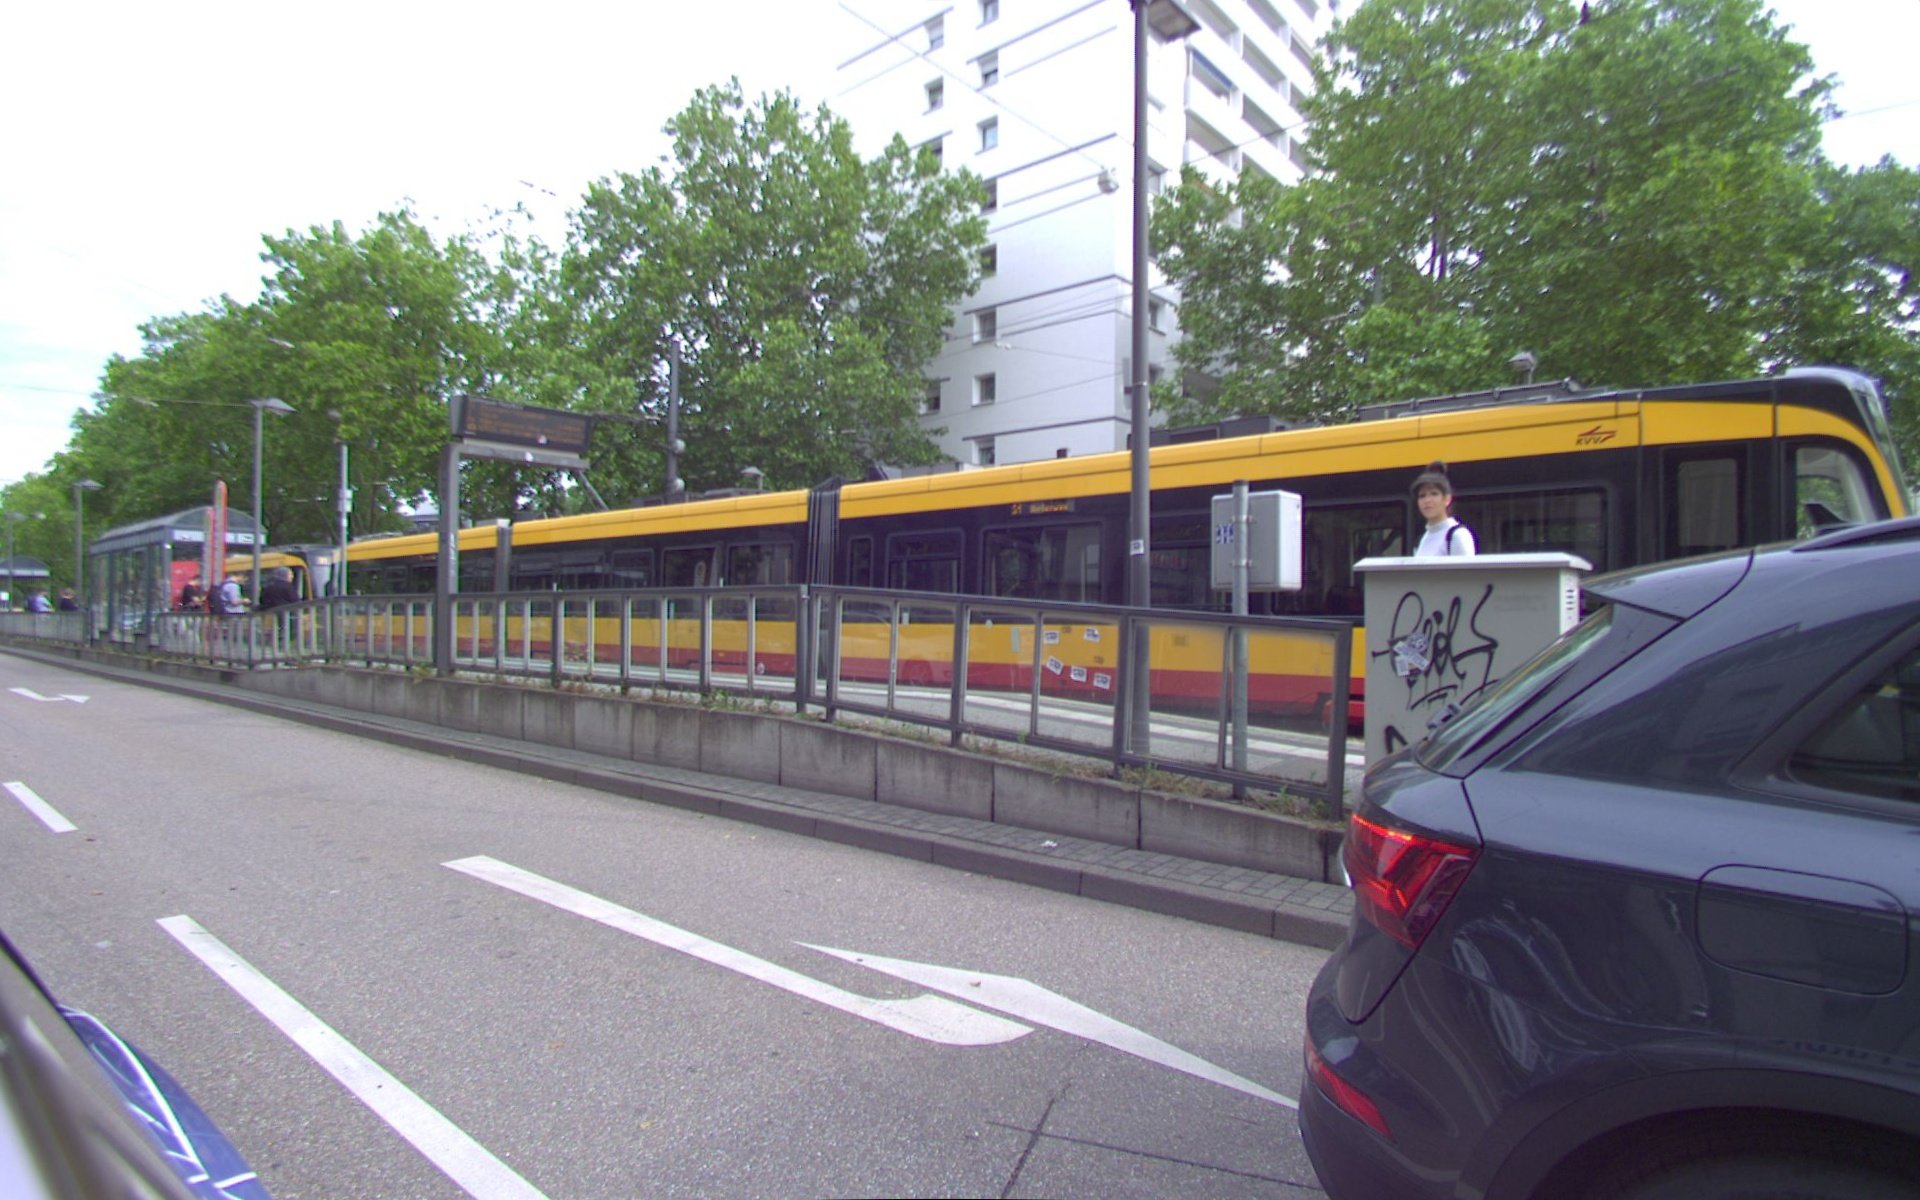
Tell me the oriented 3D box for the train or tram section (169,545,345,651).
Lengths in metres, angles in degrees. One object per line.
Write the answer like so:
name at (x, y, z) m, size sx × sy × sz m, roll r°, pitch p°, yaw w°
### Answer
train or tram section at (-28.751, -0.023, 41.096) m, size 11.039 × 3.781 × 3.295 m, roll -1°, pitch 0°, yaw 41°

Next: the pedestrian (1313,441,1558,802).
pedestrian at (2.377, 0.103, 5.178) m, size 0.969 × 1.683 × 0.718 m, roll -1°, pitch 0°, yaw 12°

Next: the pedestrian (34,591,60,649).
pedestrian at (-29.040, 0.617, 32.193) m, size 0.523 × 1.818 × 0.607 m, roll -1°, pitch 0°, yaw -35°

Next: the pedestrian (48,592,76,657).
pedestrian at (-25.571, 0.687, 28.831) m, size 0.523 × 1.818 × 0.607 m, roll -1°, pitch 0°, yaw -35°

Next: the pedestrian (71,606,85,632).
pedestrian at (-69.917, 1.521, 80.192) m, size 0.756 × 2.029 × 0.710 m, roll -1°, pitch -1°, yaw 41°

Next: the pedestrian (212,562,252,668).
pedestrian at (-12.753, 0.262, 17.724) m, size 0.605 × 1.818 × 0.469 m, roll -1°, pitch 0°, yaw 45°

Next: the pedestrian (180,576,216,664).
pedestrian at (-15.927, 0.414, 21.170) m, size 0.467 × 1.818 × 0.607 m, roll -1°, pitch 0°, yaw -24°

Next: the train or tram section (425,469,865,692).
train or tram section at (-7.649, -0.292, 22.548) m, size 12.543 × 3.781 × 3.295 m, roll -1°, pitch 0°, yaw 41°

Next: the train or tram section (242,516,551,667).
train or tram section at (-18.485, -0.154, 32.060) m, size 16.241 × 3.781 × 3.295 m, roll -1°, pitch 0°, yaw 41°

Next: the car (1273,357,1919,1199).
car at (2.686, 0.516, 0.979) m, size 4.225 × 1.649 × 1.715 m, roll -1°, pitch 0°, yaw 41°

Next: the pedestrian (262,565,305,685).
pedestrian at (-10.532, 0.384, 15.749) m, size 0.513 × 1.818 × 0.606 m, roll -1°, pitch 0°, yaw -37°

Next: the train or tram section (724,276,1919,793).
train or tram section at (2.798, -0.425, 13.339) m, size 15.196 × 3.781 × 3.295 m, roll -1°, pitch 0°, yaw 41°
